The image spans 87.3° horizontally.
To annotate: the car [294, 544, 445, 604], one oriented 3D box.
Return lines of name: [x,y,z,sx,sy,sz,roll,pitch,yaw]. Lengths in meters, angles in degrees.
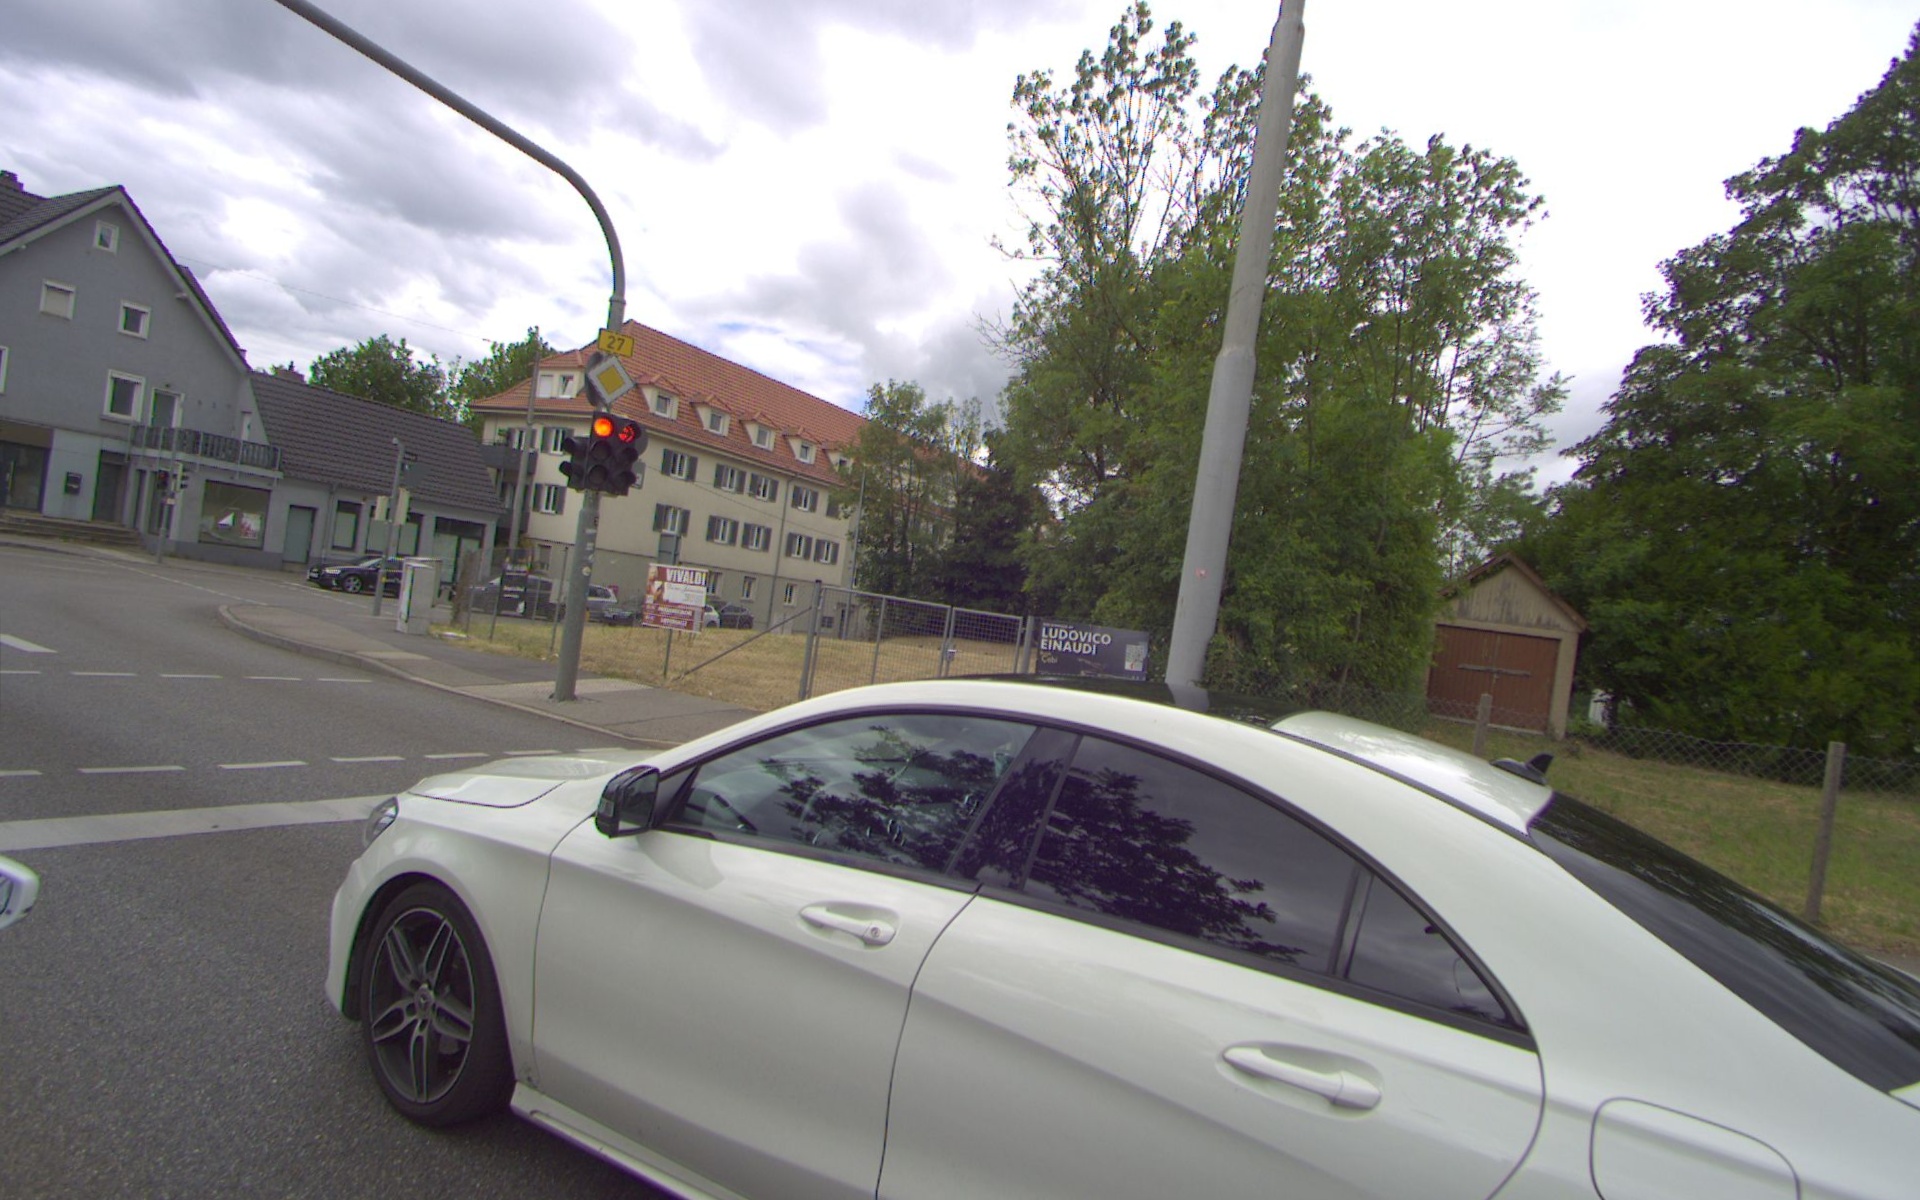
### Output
car: [-20.526,-0.869,35.139,1.769,1.386,4.099,7,-3,30]

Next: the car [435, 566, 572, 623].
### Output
car: [-16.241,-0.155,36.016,1.769,1.386,4.099,7,-3,30]

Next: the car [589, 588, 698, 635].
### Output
car: [-13.121,0.521,41.928,1.769,1.386,4.099,7,-3,30]

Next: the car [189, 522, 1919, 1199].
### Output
car: [0.066,0.860,2.828,4.693,1.523,1.871,8,-1,31]

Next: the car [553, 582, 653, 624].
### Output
car: [-16.587,0.166,46.938,1.769,1.386,4.099,7,-3,30]
